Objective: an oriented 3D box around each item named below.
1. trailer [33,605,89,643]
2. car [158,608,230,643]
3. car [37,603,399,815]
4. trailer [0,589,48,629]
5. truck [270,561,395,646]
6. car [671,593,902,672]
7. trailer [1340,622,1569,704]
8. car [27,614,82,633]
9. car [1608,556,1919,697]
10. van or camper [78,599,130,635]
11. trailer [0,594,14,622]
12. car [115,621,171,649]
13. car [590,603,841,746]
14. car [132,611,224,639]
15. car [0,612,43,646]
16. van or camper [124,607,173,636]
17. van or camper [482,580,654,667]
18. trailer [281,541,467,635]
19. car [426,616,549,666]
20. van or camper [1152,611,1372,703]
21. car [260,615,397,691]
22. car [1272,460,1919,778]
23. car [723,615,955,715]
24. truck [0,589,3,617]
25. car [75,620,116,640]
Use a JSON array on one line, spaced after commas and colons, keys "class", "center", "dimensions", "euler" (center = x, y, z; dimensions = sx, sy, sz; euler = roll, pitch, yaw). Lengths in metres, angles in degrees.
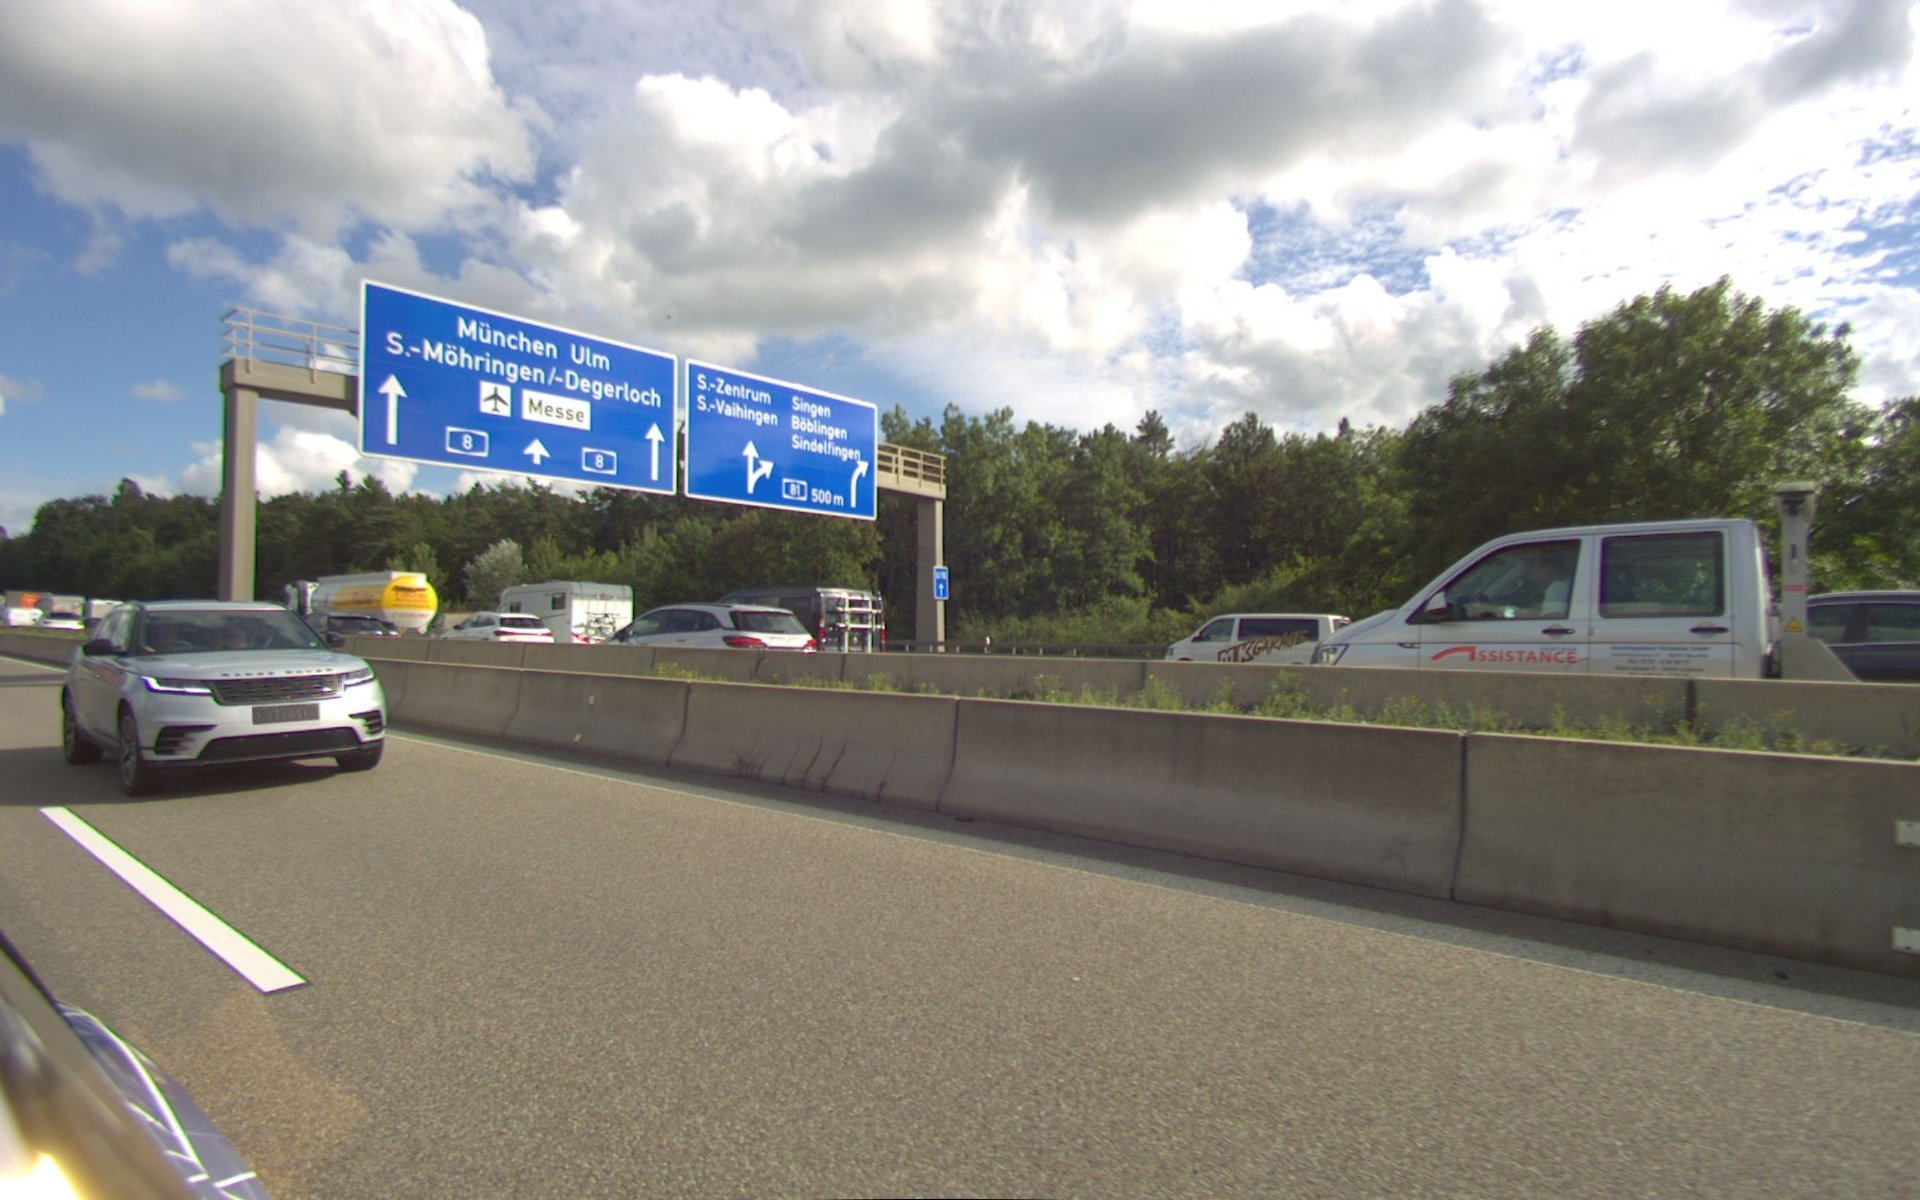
[{"class": "trailer", "center": [-90.026, 2.335, 101.237], "dimensions": [10.215, 3.686, 2.858], "euler": [0, -1, 41]}, {"class": "car", "center": [-39.603, 1.293, 52.257], "dimensions": [4.780, 1.668, 1.987], "euler": [-1, 0, 41]}, {"class": "car", "center": [-7.628, 0.884, 10.167], "dimensions": [5.103, 1.619, 1.880], "euler": [-1, -1, 41]}, {"class": "trailer", "center": [-107.516, 0.946, 116.062], "dimensions": [13.170, 4.352, 2.612], "euler": [0, 2, 41]}, {"class": "truck", "center": [-31.207, 0.213, 50.236], "dimensions": [6.798, 3.930, 3.382], "euler": [-1, 0, 41]}, {"class": "car", "center": [-3.751, 0.631, 21.146], "dimensions": [5.373, 1.460, 1.769], "euler": [-1, 0, 41]}, {"class": "trailer", "center": [11.035, 1.331, 22.742], "dimensions": [4.346, 1.591, 1.807], "euler": [0, 0, 40]}, {"class": "car", "center": [-49.136, 1.259, 54.886], "dimensions": [4.485, 0.947, 1.626], "euler": [-1, 0, 41]}, {"class": "car", "center": [8.280, 0.213, 8.909], "dimensions": [4.161, 1.148, 1.548], "euler": [-1, 0, 41]}, {"class": "van or camper", "center": [-74.366, 1.407, 87.876], "dimensions": [7.479, 2.911, 2.444], "euler": [1, 1, 41]}, {"class": "trailer", "center": [-126.691, 0.988, 132.439], "dimensions": [12.225, 3.524, 2.919], "euler": [0, 0, 41]}, {"class": "car", "center": [-48.001, 2.009, 59.440], "dimensions": [4.240, 1.549, 1.813], "euler": [-1, 0, 41]}, {"class": "car", "center": [-3.822, 1.022, 15.484], "dimensions": [3.948, 1.890, 1.781], "euler": [-1, -1, 41]}, {"class": "car", "center": [-28.809, 0.912, 37.217], "dimensions": [5.460, 0.934, 1.650], "euler": [-1, 0, 41]}, {"class": "car", "center": [-61.060, 1.863, 65.491], "dimensions": [5.497, 2.078, 1.813], "euler": [-1, -2, 41]}, {"class": "van or camper", "center": [-60.206, 1.587, 75.100], "dimensions": [4.689, 2.026, 2.258], "euler": [-1, 0, 44]}, {"class": "van or camper", "center": [-13.376, 0.716, 34.188], "dimensions": [7.394, 2.662, 2.300], "euler": [0, 0, 41]}, {"class": "trailer", "center": [-27.587, -0.416, 47.139], "dimensions": [13.253, 3.857, 3.376], "euler": [-1, -1, 41]}, {"class": "car", "center": [-13.912, 1.152, 29.677], "dimensions": [4.534, 1.334, 1.547], "euler": [-1, 0, 41]}, {"class": "van or camper", "center": [7.554, 1.346, 25.691], "dimensions": [5.073, 2.048, 1.840], "euler": [0, 0, 41]}, {"class": "car", "center": [-16.913, 1.338, 26.996], "dimensions": [4.936, 1.812, 1.749], "euler": [-1, 0, 41]}, {"class": "car", "center": [4.811, 0.128, 7.707], "dimensions": [4.177, 1.815, 2.065], "euler": [-1, 0, 41]}, {"class": "car", "center": [-2.452, 1.157, 19.678], "dimensions": [4.660, 1.644, 1.781], "euler": [-1, 1, 41]}, {"class": "truck", "center": [-131.833, 0.374, 136.899], "dimensions": [5.106, 3.775, 2.926], "euler": [-1, -1, 41]}, {"class": "car", "center": [-60.042, 2.076, 70.253], "dimensions": [3.588, 1.266, 1.646], "euler": [-1, 0, 40]}]
